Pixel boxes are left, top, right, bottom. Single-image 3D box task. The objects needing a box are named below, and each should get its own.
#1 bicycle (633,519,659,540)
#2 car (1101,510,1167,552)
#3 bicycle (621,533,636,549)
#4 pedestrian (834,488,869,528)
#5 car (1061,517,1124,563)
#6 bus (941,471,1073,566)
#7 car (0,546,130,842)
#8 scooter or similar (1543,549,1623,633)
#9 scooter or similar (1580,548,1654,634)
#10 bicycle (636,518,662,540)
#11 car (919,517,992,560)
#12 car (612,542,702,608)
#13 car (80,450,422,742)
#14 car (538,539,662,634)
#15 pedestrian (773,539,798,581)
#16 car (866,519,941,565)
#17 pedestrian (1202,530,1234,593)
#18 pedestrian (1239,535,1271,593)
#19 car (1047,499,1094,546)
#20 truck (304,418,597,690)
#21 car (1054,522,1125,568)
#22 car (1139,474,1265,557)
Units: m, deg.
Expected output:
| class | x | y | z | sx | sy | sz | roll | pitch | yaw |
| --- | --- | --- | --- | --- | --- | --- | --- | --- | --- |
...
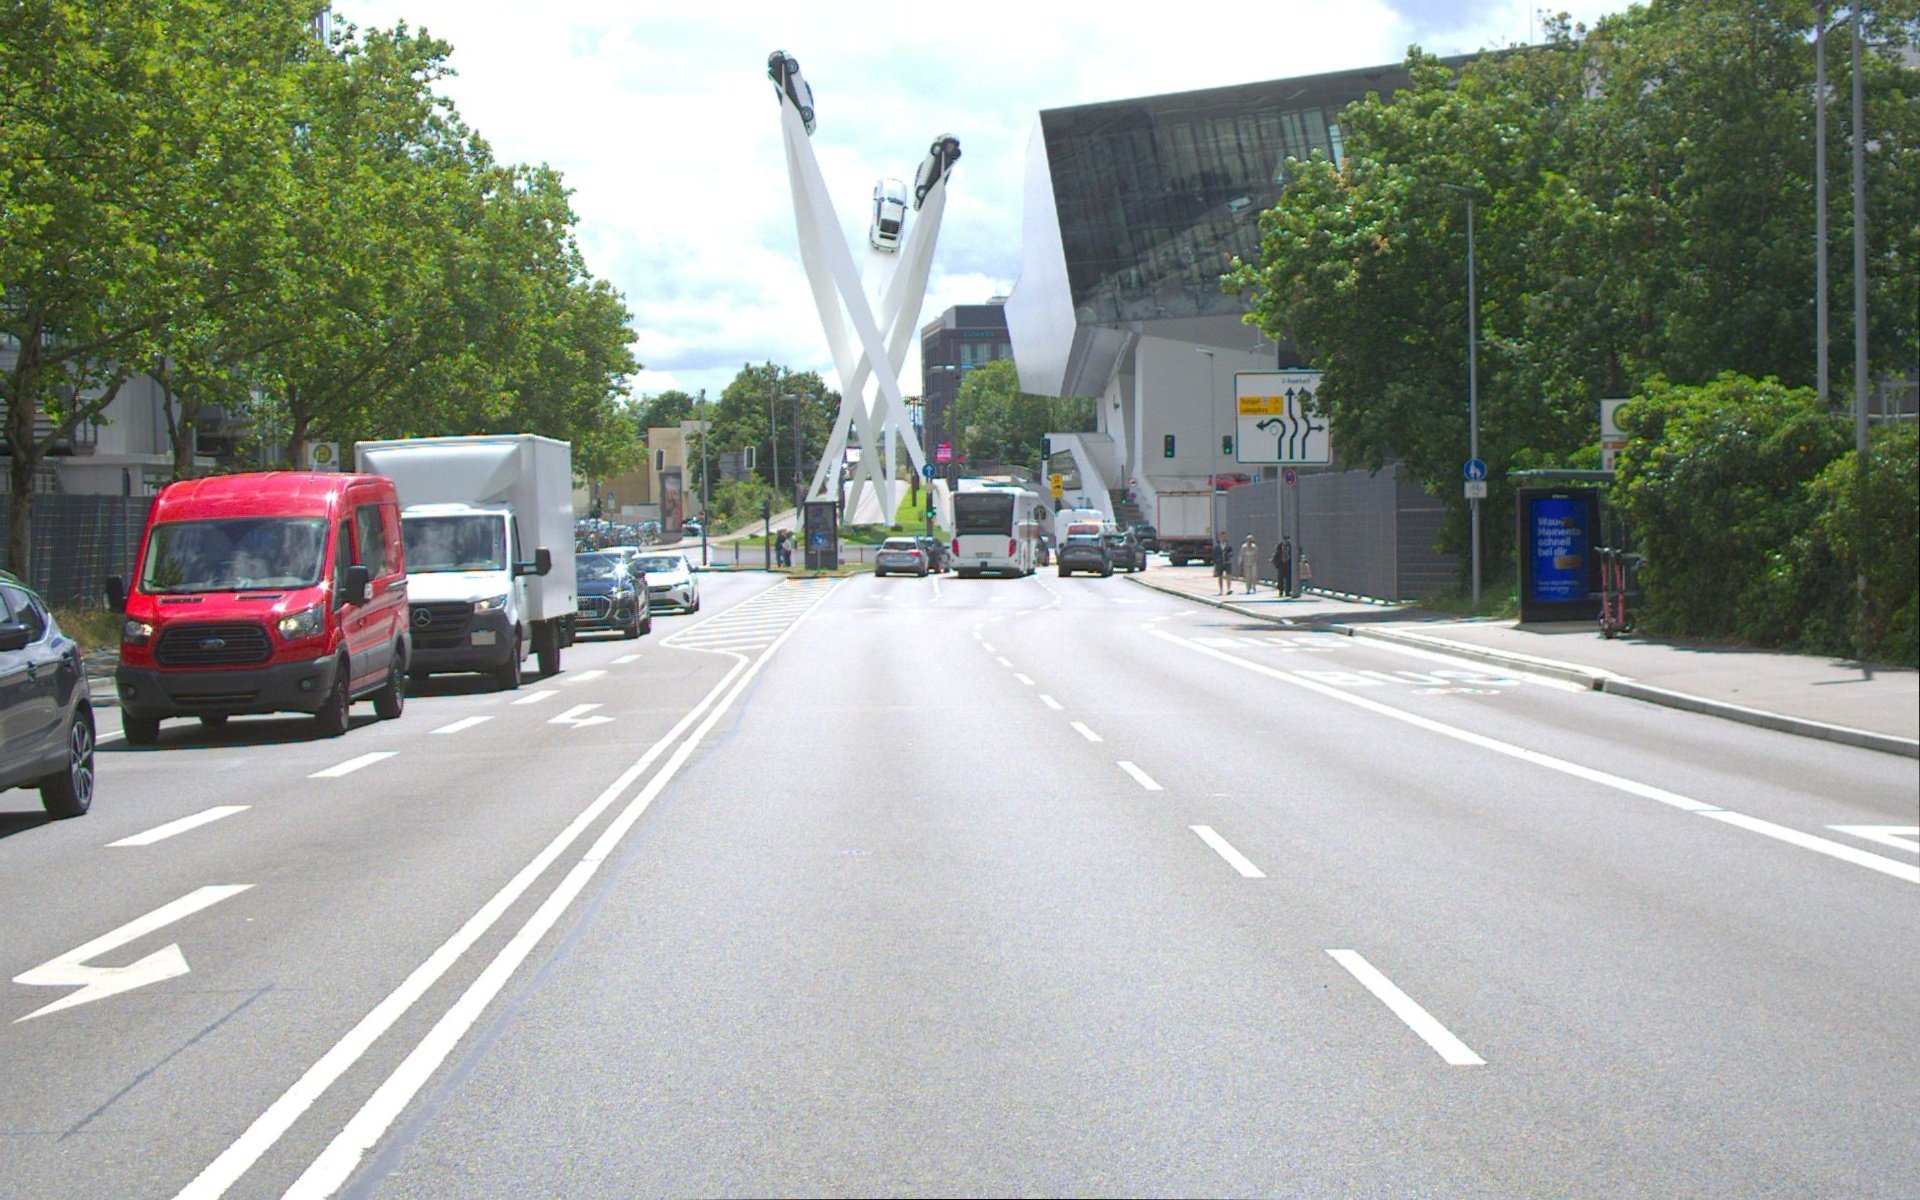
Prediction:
| class | x | y | z | sx | sy | sz | roll | pitch | yaw |
| --- | --- | --- | --- | --- | --- | --- | --- | --- | --- |
| bicycle | -19.819 | -4.458 | 217.075 | 1.605 | 1.312 | 0.493 | 1 | 0 | -1 |
| car | 6.972 | -2.757 | 137.723 | 1.994 | 1.631 | 3.998 | 1 | 0 | 12 |
| bicycle | -20.647 | -3.679 | 214.285 | 0.491 | 0.863 | 1.611 | -1 | 4 | 11 |
| pedestrian | -5.248 | -4.465 | 166.617 | 1.281 | 1.810 | 0.987 | -6 | 5 | -25 |
| car | 5.774 | -2.592 | 149.258 | 1.994 | 1.926 | 4.238 | 1 | 0 | 12 |
| bus | 1.893 | -3.011 | 130.296 | 3.073 | 3.350 | 12.218 | 1 | 0 | 10 |
| car | -6.318 | 0.552 | 20.289 | 1.736 | 1.678 | 4.214 | -2 | 0 | 1 |
| scooter or similar | 9.092 | -0.143 | 50.123 | 0.542 | 1.159 | 2.125 | -1 | 1 | 27 |
| scooter or similar | 9.381 | -0.138 | 49.040 | 0.542 | 1.159 | 1.790 | -1 | 1 | 27 |
| bicycle | -19.748 | -4.526 | 218.446 | 1.605 | 1.378 | 0.493 | 1 | 0 | -1 |
| car | -0.161 | -2.416 | 135.717 | 1.995 | 1.631 | 3.998 | 1 | 0 | 13 |
| car | -6.988 | -0.591 | 79.578 | 1.691 | 1.410 | 4.146 | -2 | 1 | 0 |
| car | -6.663 | -0.085 | 32.974 | 2.063 | 2.498 | 5.480 | -2 | 1 | 0 |
| car | -6.455 | -0.260 | 62.040 | 1.740 | 1.575 | 4.267 | -3 | 1 | 0 |
| pedestrian | -7.402 | -1.699 | 145.539 | 0.863 | 1.767 | 1.036 | 0 | 0 | -14 |
| car | -2.058 | -2.136 | 126.528 | 1.994 | 1.631 | 3.998 | 1 | 0 | 11 |
| pedestrian | 7.057 | -1.059 | 93.924 | 0.794 | 1.715 | 0.732 | 1 | 0 | -1 |
| pedestrian | 8.057 | -0.981 | 93.879 | 0.794 | 1.591 | 0.732 | 1 | 0 | -1 |
| car | 5.315 | -3.683 | 164.588 | 1.994 | 2.163 | 4.655 | 1 | 0 | 5 |
| truck | -6.327 | -0.568 | 43.749 | 2.452 | 3.118 | 7.243 | -1 | 0 | 1 |
| car | 4.920 | -2.098 | 130.148 | 1.994 | 1.631 | 3.998 | 1 | 2 | 12 |
| car | 10.818 | -3.719 | 152.889 | 3.338 | 3.492 | 9.333 | 1 | 0 | 18 |
